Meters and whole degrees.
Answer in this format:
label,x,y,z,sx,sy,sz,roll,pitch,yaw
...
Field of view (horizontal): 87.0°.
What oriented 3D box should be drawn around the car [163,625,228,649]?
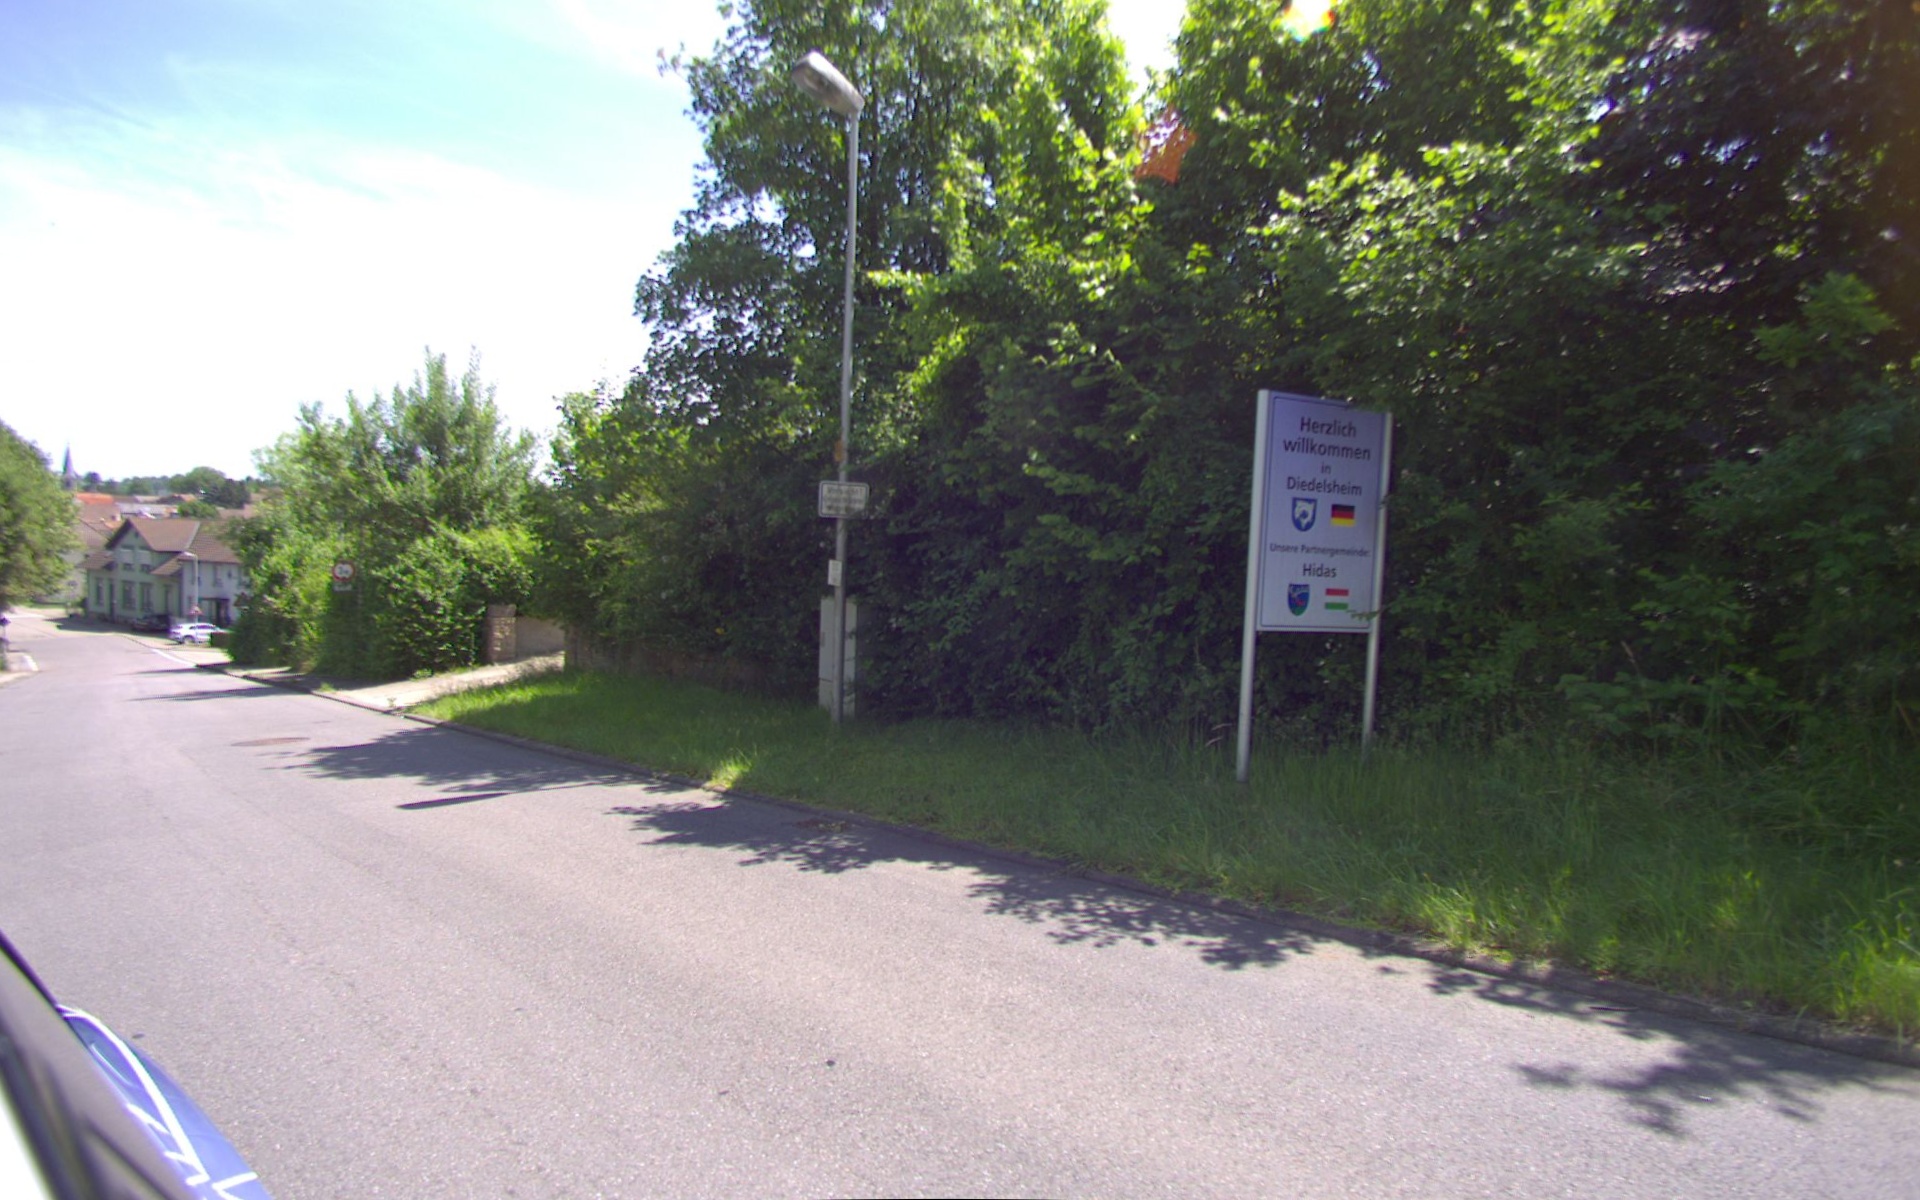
label,x,y,z,sx,sy,sz,roll,pitch,yaw
car,-56.427,2.717,74.741,1.513,1.395,3.539,0,4,37
